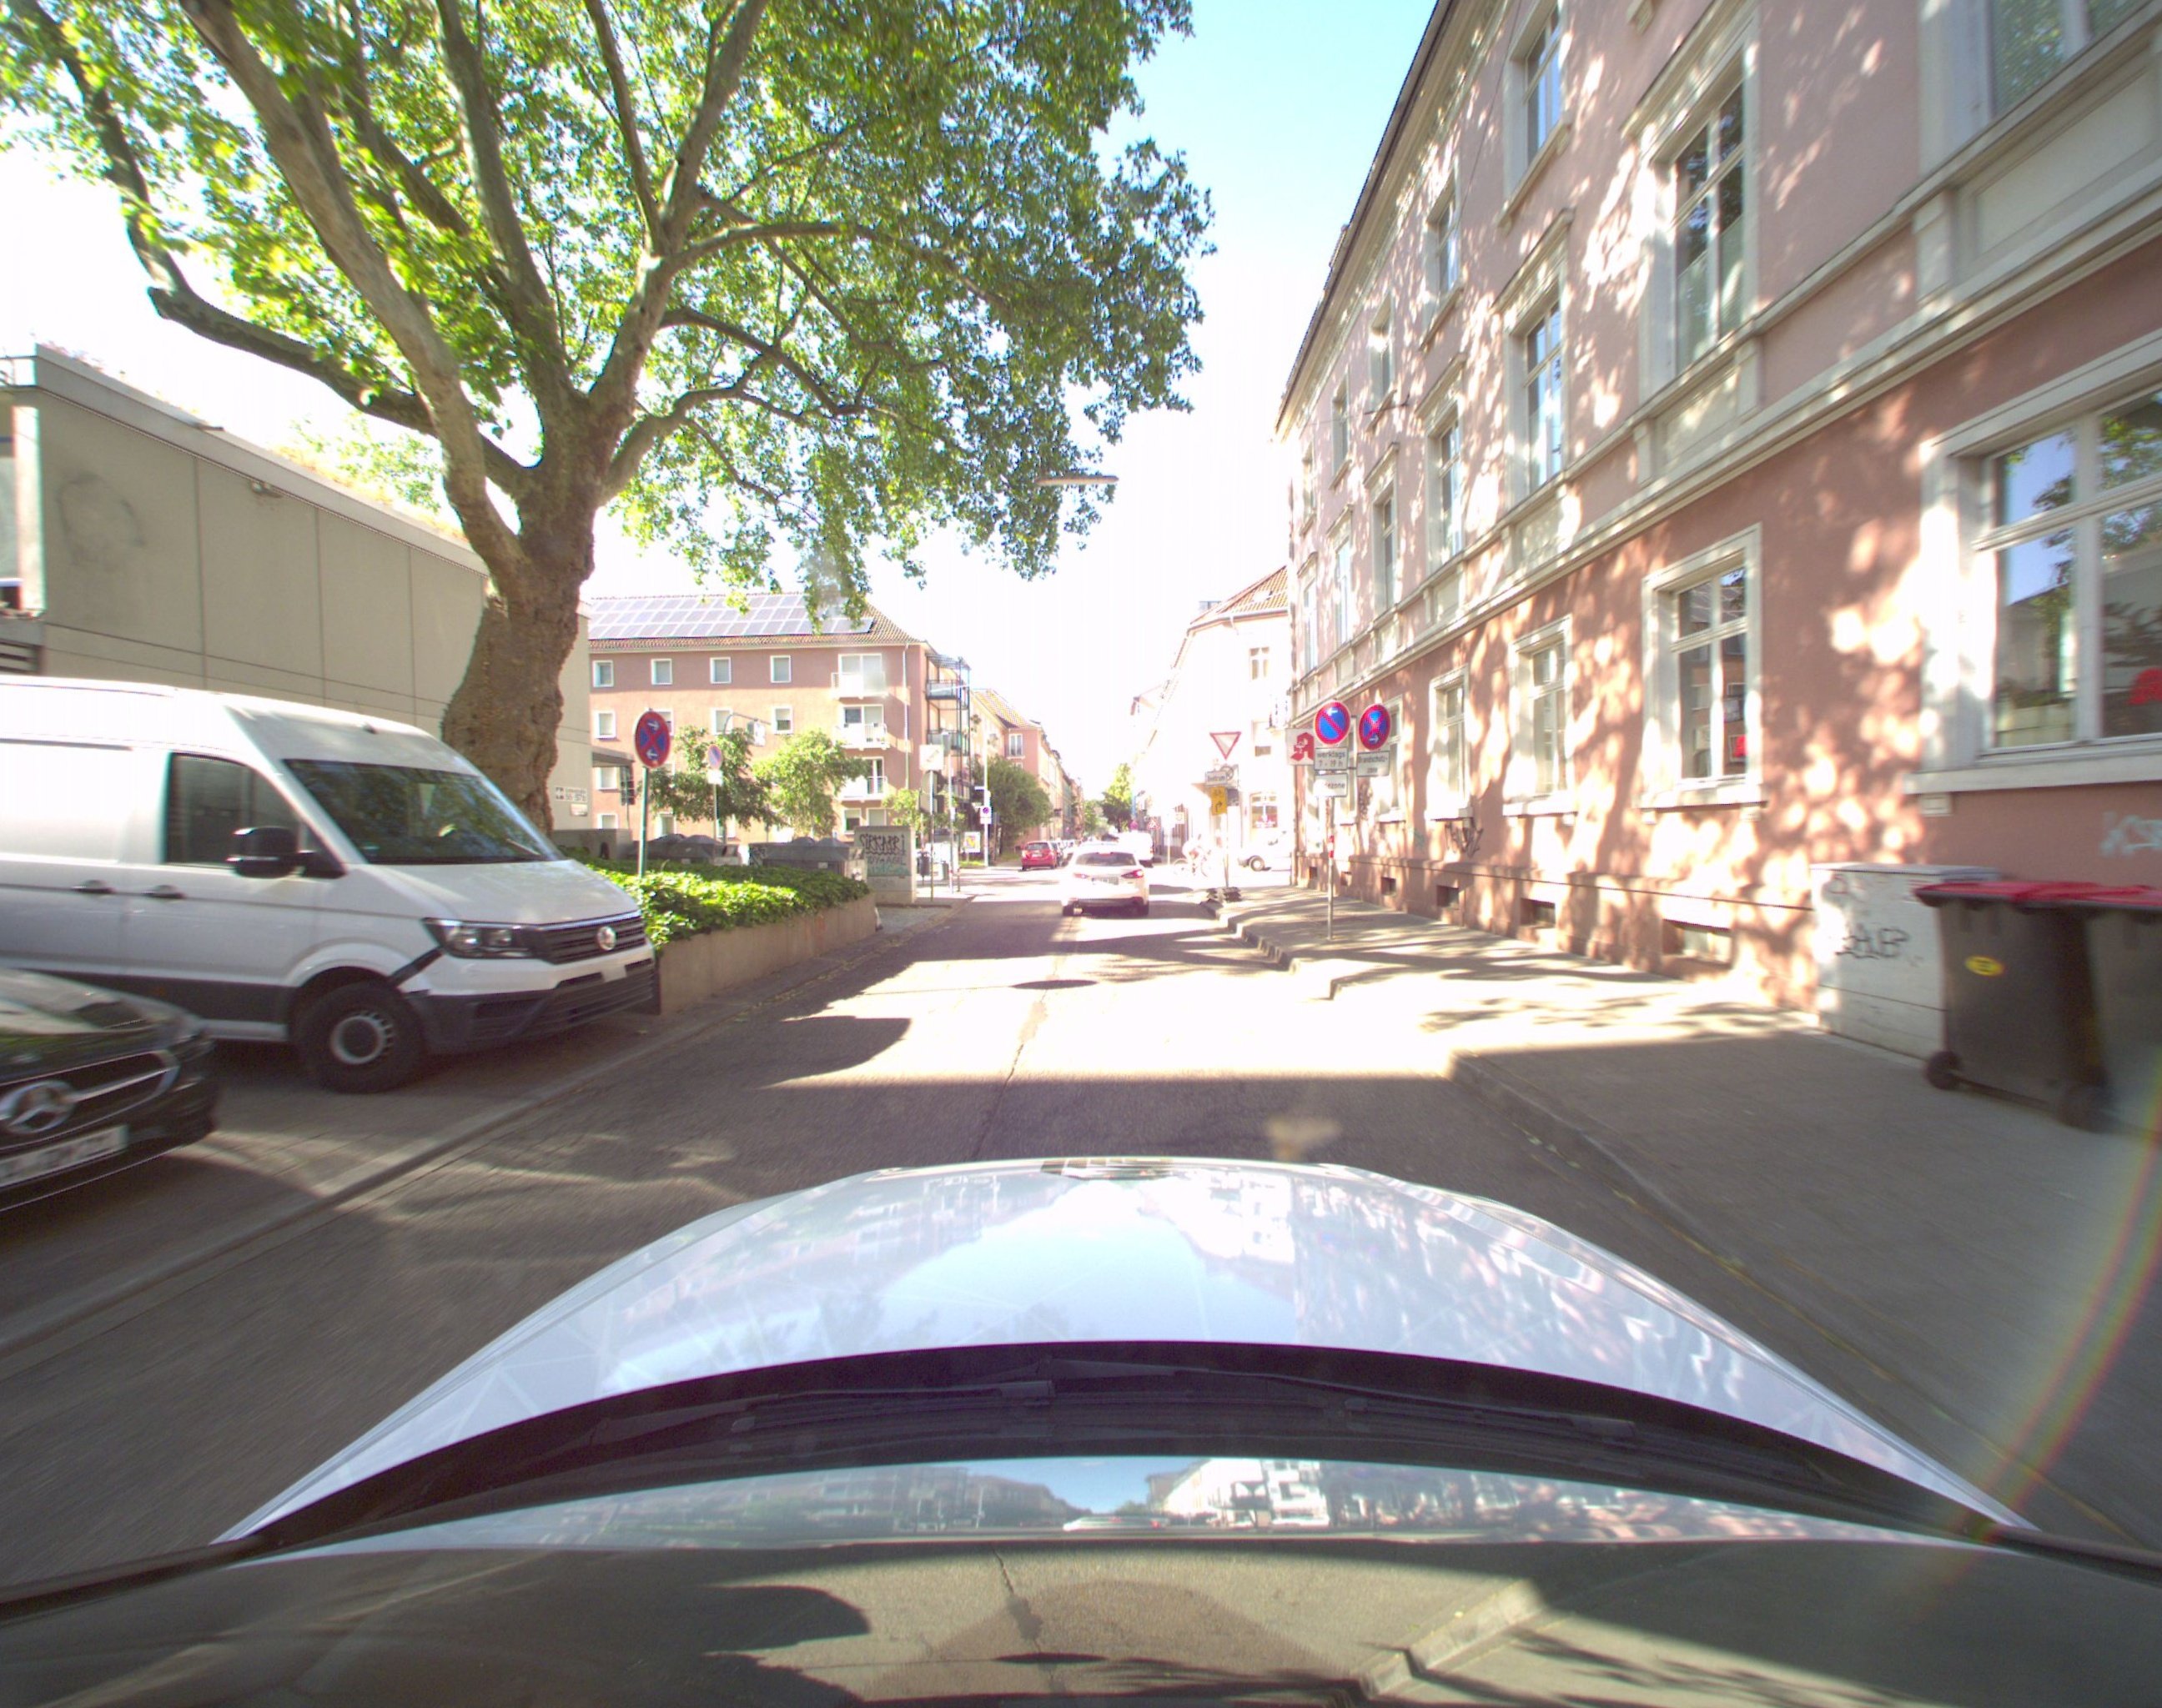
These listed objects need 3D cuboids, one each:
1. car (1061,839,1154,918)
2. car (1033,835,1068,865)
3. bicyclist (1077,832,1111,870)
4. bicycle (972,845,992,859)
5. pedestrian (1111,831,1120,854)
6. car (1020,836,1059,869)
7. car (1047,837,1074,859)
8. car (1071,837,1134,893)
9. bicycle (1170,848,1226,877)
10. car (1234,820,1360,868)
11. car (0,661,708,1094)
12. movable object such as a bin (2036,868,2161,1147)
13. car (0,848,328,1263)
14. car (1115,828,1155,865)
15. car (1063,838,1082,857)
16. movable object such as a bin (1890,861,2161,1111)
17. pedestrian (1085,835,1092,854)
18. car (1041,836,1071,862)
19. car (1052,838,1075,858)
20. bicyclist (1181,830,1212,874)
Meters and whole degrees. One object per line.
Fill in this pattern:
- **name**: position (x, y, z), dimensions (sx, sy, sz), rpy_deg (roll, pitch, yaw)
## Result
- **car**: position (0.558, 0.441, 17.895), dimensions (1.817, 1.514, 3.825), rpy_deg (-1, 1, 1)
- **car**: position (-1.787, -0.253, 48.435), dimensions (1.713, 1.682, 3.728), rpy_deg (-2, 1, 2)
- **bicyclist**: position (0.540, -0.124, 33.822), dimensions (1.186, 1.516, 0.844), rpy_deg (-2, 0, 16)
- **bicycle**: position (-6.615, -0.131, 54.222), dimensions (0.607, 0.932, 1.896), rpy_deg (-2, 0, -31)
- **pedestrian**: position (3.180, -1.111, 75.957), dimensions (0.768, 2.118, 0.835), rpy_deg (-2, 0, 2)
- **car**: position (-2.146, -0.102, 42.841), dimensions (1.763, 1.588, 3.727), rpy_deg (-2, 2, 1)
- **car**: position (-1.533, -0.440, 60.737), dimensions (1.713, 1.576, 3.728), rpy_deg (-2, 0, 2)
- **car**: position (0.628, 0.268, 24.041), dimensions (1.676, 1.481, 3.662), rpy_deg (-2, 1, 1)
- **bicycle**: position (4.260, 0.293, 29.699), dimensions (1.920, 0.986, 0.663), rpy_deg (-2, 0, 0)
- **car**: position (9.126, -0.381, 34.508), dimensions (4.844, 1.928, 2.012), rpy_deg (-1, -1, 26)
- **car**: position (-6.689, 0.065, 6.146), dimensions (6.711, 2.554, 2.147), rpy_deg (2, 0, 3)
- **movable object such as a bin**: position (4.600, 0.608, 3.317), dimensions (0.698, 1.073, 0.597), rpy_deg (-2, 0, 3)
- **car**: position (-6.205, 0.706, 3.343), dimensions (4.482, 1.470, 1.930), rpy_deg (2, 1, 2)
- **car**: position (3.000, -0.448, 45.956), dimensions (1.937, 1.947, 4.077), rpy_deg (-1, 1, -1)
- **car**: position (-0.758, -0.605, 75.051), dimensions (1.566, 1.585, 3.613), rpy_deg (-2, 0, 2)
- **movable object such as a bin**: position (4.621, 0.595, 3.949), dimensions (0.742, 1.086, 0.635), rpy_deg (-2, 0, 3)
- **pedestrian**: position (0.713, -0.869, 76.701), dimensions (0.645, 1.797, 0.639), rpy_deg (-2, 0, 2)
- **car**: position (-1.621, -0.339, 53.949), dimensions (1.629, 1.655, 3.787), rpy_deg (-1, 0, 2)
- **car**: position (-1.372, -0.479, 64.748), dimensions (1.596, 1.477, 3.570), rpy_deg (-2, 0, 2)
- **bicyclist**: position (4.209, -0.083, 29.697), dimensions (0.979, 1.553, 0.761), rpy_deg (-2, 0, 1)
